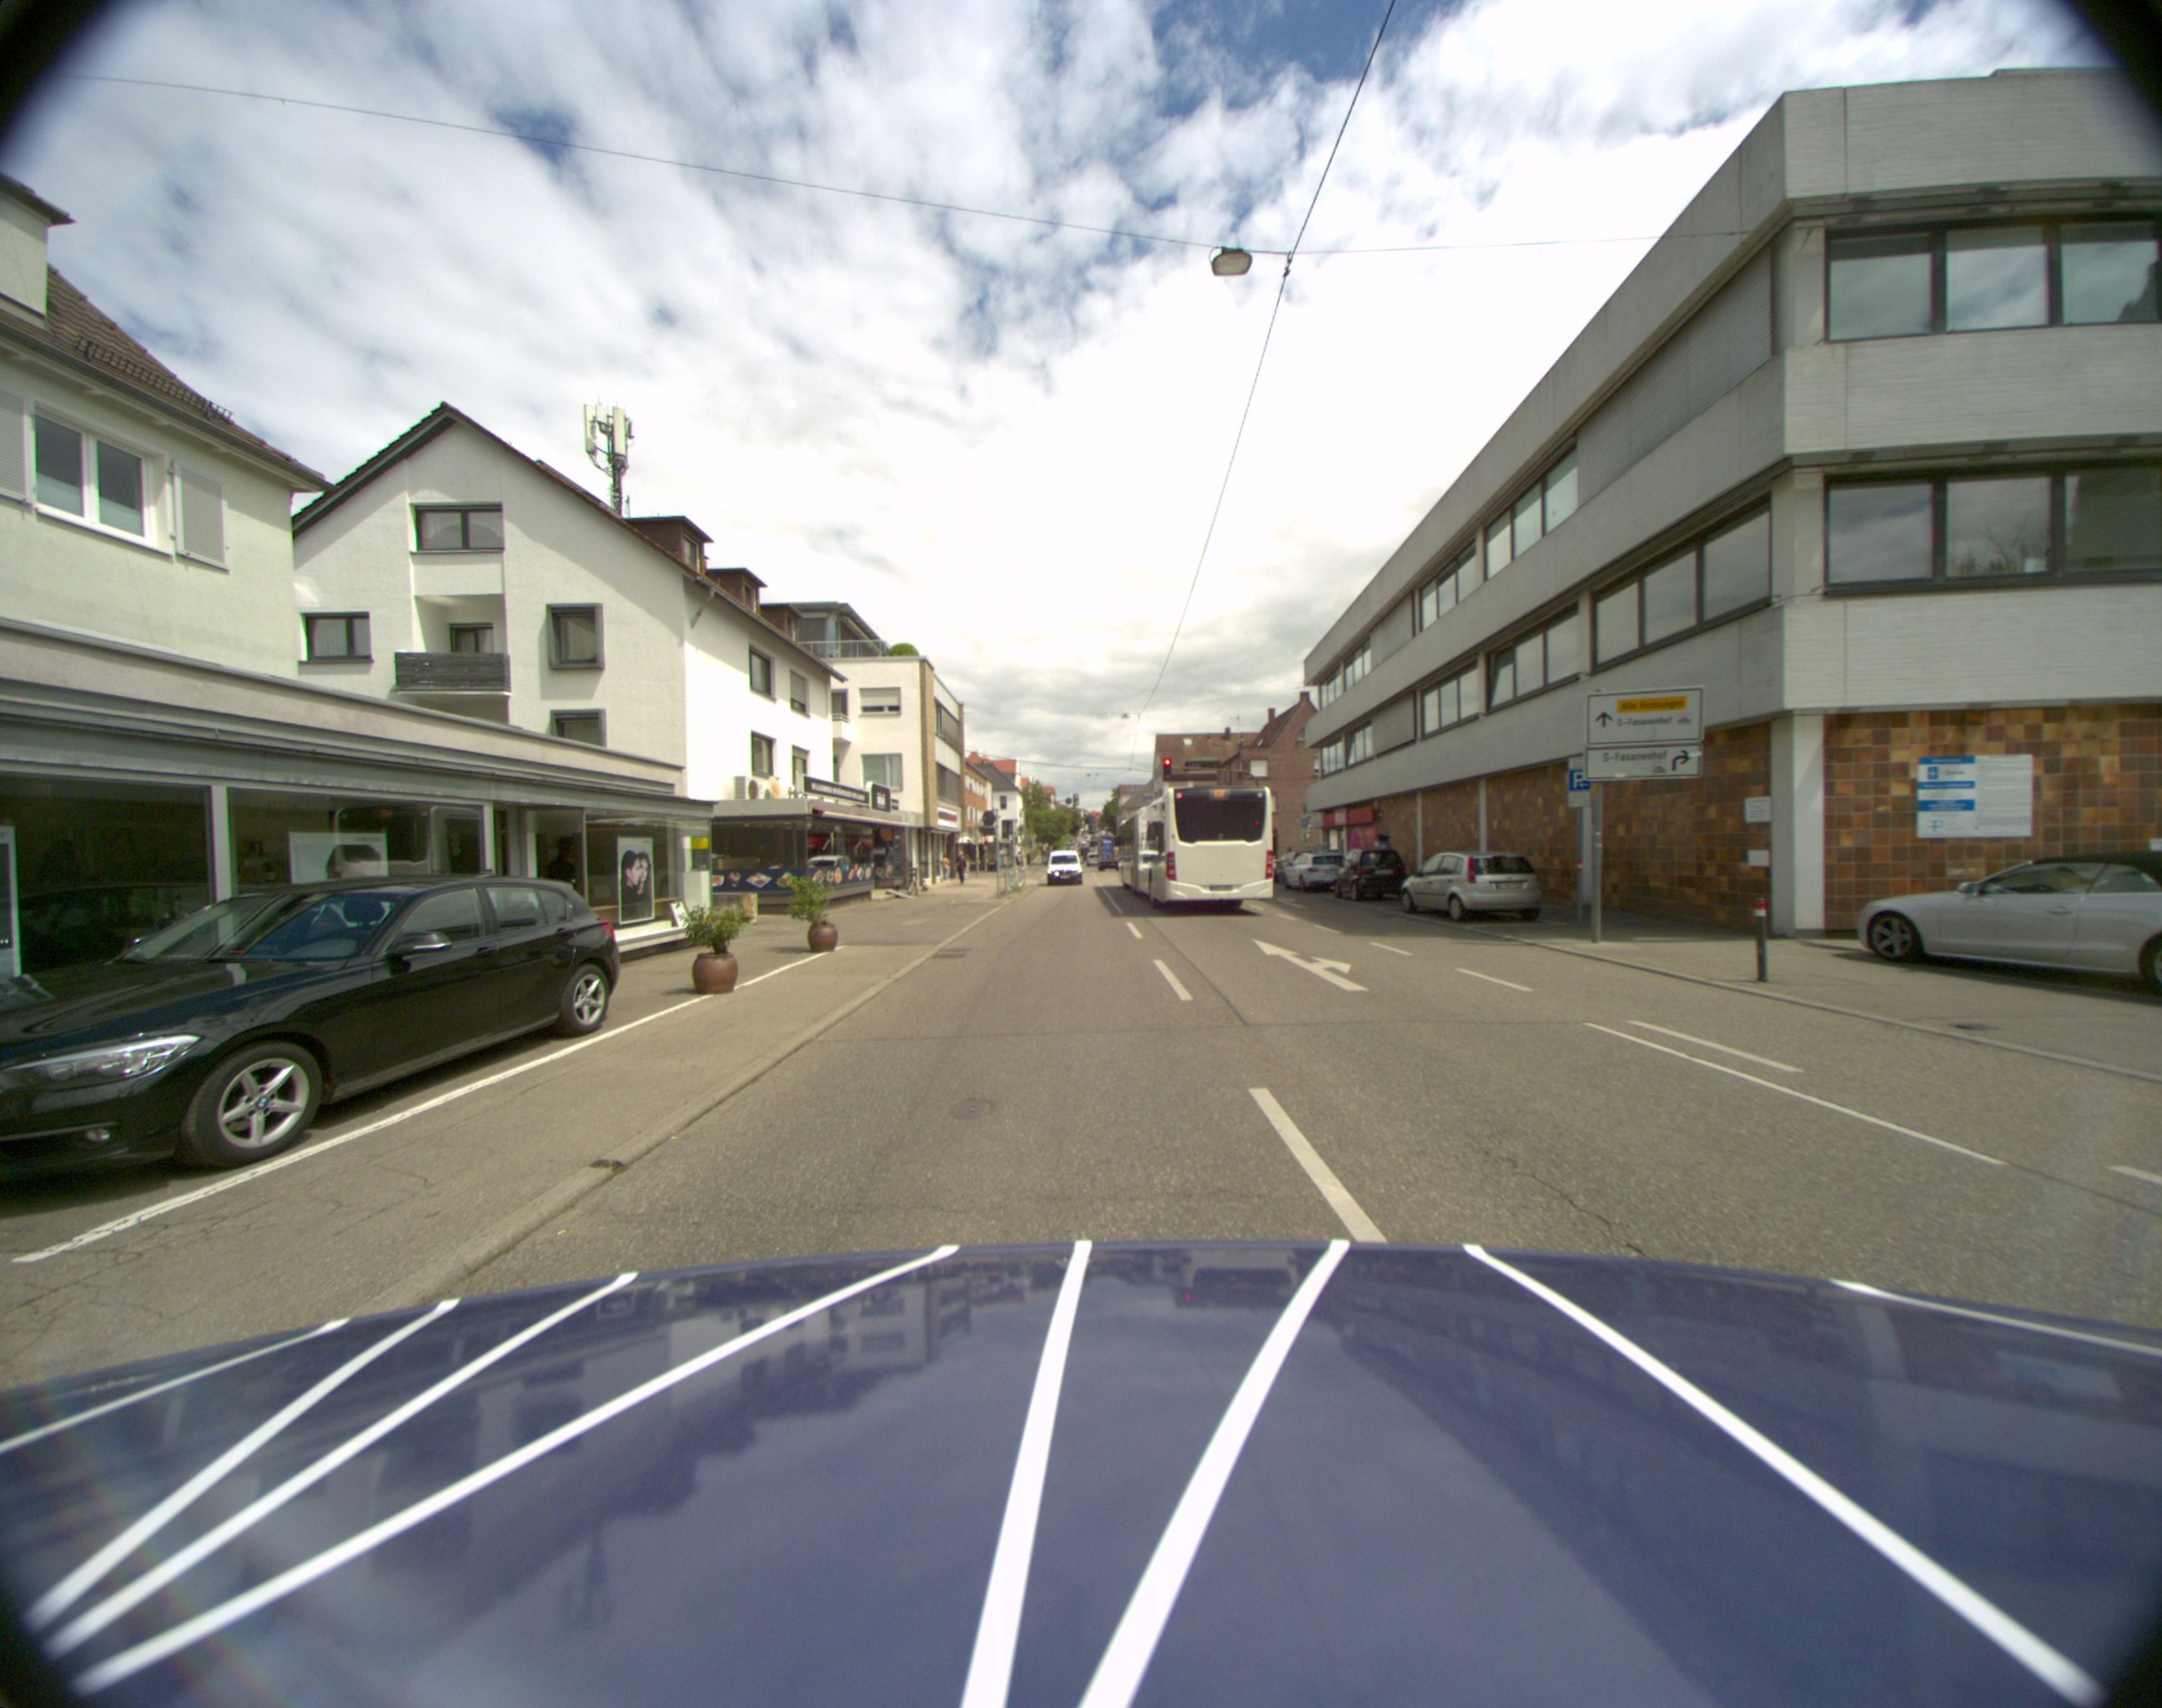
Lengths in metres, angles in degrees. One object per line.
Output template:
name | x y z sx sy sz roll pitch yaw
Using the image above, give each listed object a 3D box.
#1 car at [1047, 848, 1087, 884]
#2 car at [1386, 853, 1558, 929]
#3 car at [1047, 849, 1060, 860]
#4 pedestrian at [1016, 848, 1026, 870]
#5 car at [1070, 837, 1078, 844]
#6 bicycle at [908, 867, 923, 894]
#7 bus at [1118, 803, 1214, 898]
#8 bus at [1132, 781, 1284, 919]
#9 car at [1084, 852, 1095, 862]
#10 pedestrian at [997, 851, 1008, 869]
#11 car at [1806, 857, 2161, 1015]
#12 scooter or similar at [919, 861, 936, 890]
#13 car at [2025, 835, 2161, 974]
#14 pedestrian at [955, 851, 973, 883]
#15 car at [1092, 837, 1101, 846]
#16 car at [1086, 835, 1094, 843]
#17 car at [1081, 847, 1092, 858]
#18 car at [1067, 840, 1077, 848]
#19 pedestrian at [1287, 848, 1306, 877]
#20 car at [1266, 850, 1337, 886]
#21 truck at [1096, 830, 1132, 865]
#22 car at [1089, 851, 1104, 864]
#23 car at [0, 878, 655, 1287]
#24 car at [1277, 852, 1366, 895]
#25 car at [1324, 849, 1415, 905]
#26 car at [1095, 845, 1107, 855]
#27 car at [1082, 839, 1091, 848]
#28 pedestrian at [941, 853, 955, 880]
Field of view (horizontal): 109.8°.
car | -0.787 0.593 40.509 2.000 1.797 4.764 -1 0 -2
car | 8.487 0.716 16.950 1.726 1.414 4.148 -2 0 1
car | -4.237 0.088 117.558 1.999 1.654 3.999 -1 0 0
pedestrian | -5.095 0.442 64.420 0.581 1.820 0.882 0 1 16
car | -1.763 -3.395 191.809 2.149 1.747 3.973 -1 0 0
bicycle | -6.732 1.080 30.971 0.476 1.022 1.634 -1 0 -9
bus | 3.116 -0.158 30.688 2.689 3.145 10.183 -1 0 0
bus | 3.203 -0.127 21.579 2.723 3.145 8.066 -1 0 -2
car | 1.361 0.435 121.615 1.681 1.626 2.833 -1 0 -2
pedestrian | -6.585 0.517 63.497 0.779 1.517 0.819 -1 1 2
car | 10.752 0.748 7.945 1.955 1.350 4.856 -1 0 4
scooter or similar | -6.800 0.939 33.686 0.690 1.260 1.184 -1 1 -12
car | 13.375 0.612 7.631 1.955 1.610 4.932 2 0 7
pedestrian | -6.063 0.678 39.481 0.797 1.661 0.807 0 1 -1
car | 3.617 -2.947 179.933 2.111 2.109 4.764 -1 0 0
car | 2.429 -4.104 207.445 1.982 1.985 5.027 -1 0 -2
car | 1.037 -0.281 140.190 1.954 1.866 4.875 -1 1 -1
car | -1.919 -2.201 163.375 2.149 1.747 3.973 -1 0 0
pedestrian | 11.941 0.470 42.068 0.820 1.546 0.846 -2 1 6
car | 9.903 0.585 34.486 2.049 1.467 4.285 -2 0 2
truck | 3.062 -0.640 72.279 2.861 3.075 8.087 -1 0 -2
car | 2.121 0.458 103.560 1.950 1.810 4.278 -1 0 0
car | -5.134 0.979 5.205 1.973 1.439 4.534 -1 0 -2
car | 9.060 0.681 29.051 2.049 1.436 4.953 -2 0 3
car | 8.738 0.664 23.288 1.740 1.547 3.057 -2 0 3
car | 3.931 -0.801 146.769 2.111 1.778 4.529 -1 0 0
car | 1.058 -2.189 159.105 1.819 1.919 4.112 -1 0 0
pedestrian | -7.498 0.708 42.869 0.681 1.490 0.720 -1 1 0
